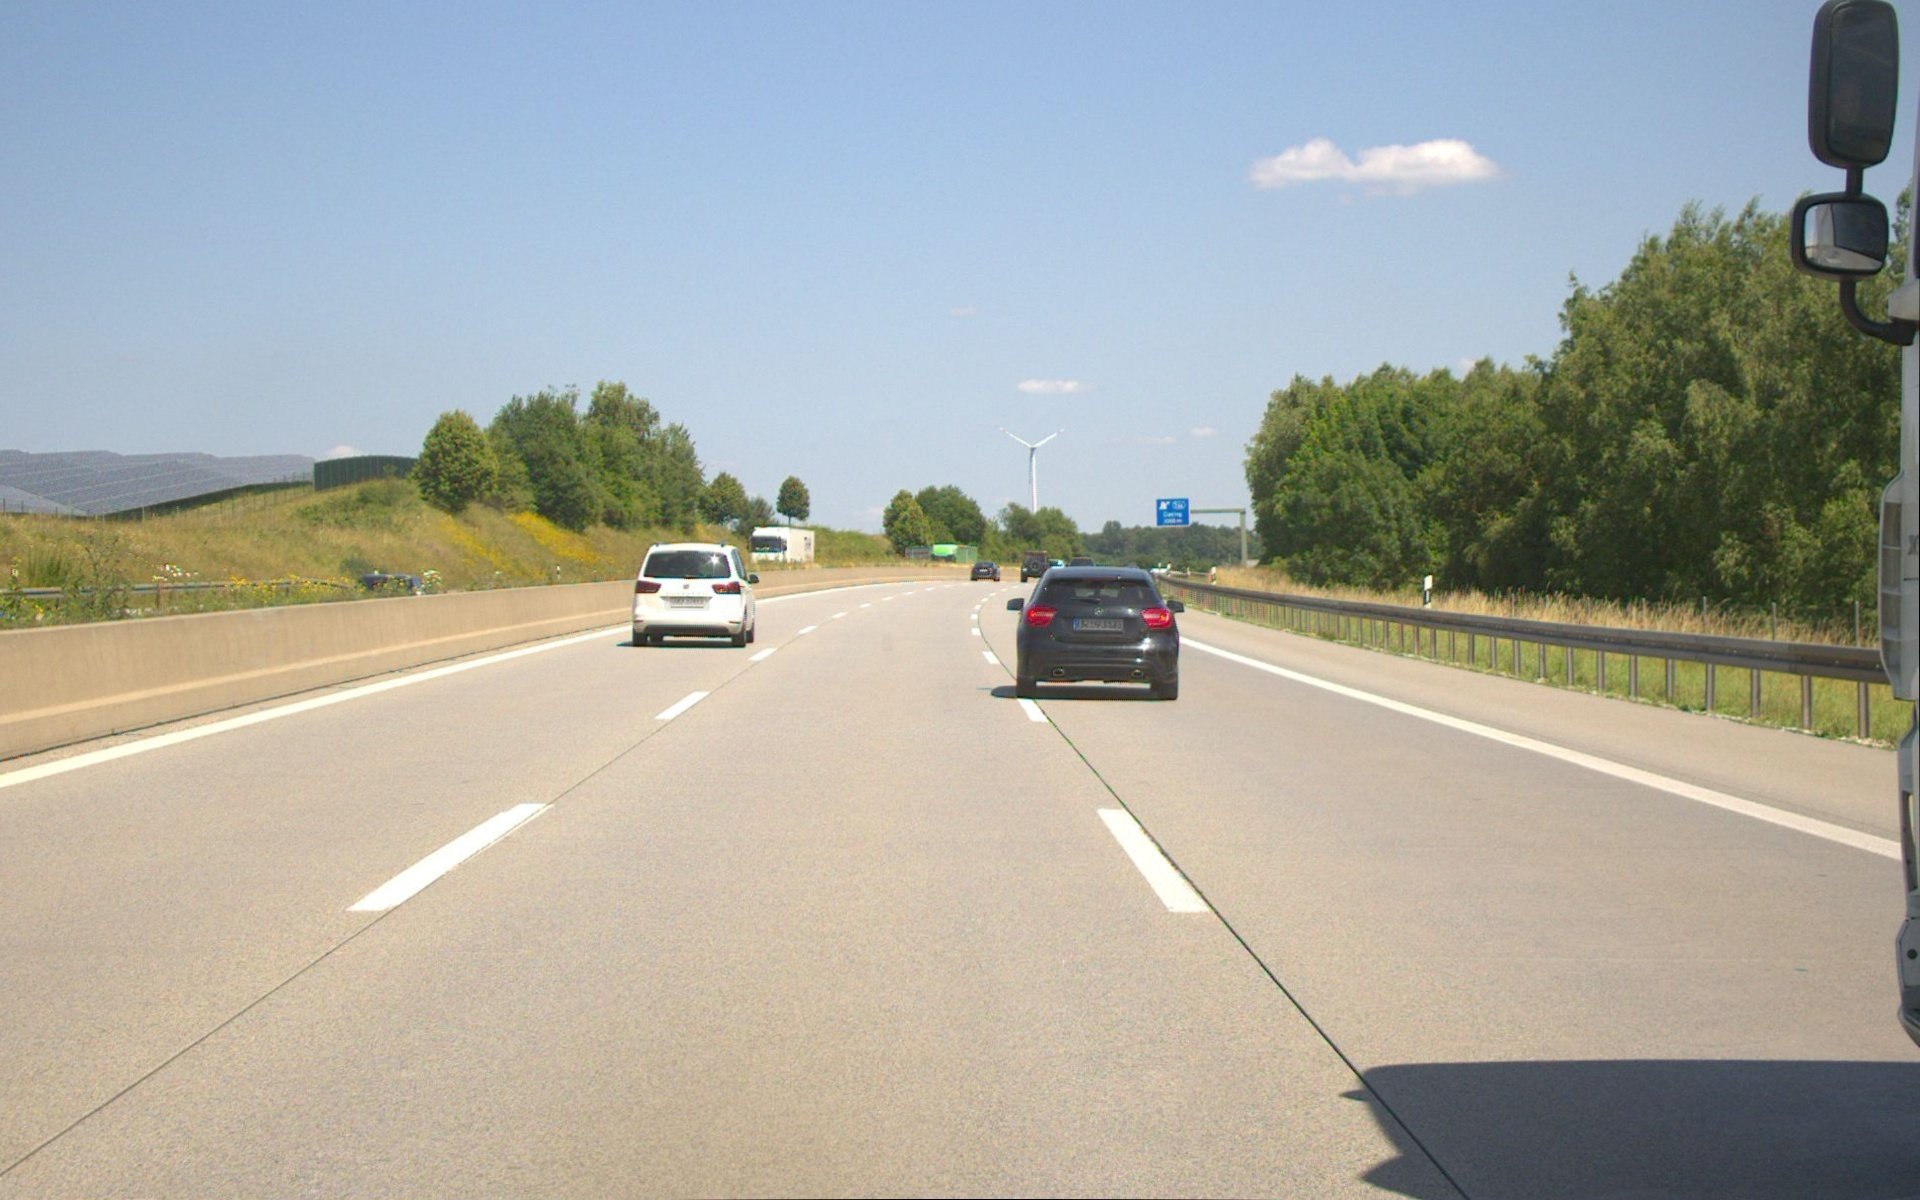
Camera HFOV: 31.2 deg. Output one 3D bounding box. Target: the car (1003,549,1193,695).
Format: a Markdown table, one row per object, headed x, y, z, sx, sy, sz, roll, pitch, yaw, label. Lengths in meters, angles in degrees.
| x | y | z | sx | sy | sz | roll | pitch | yaw | label |
| --- | --- | --- | --- | --- | --- | --- | --- | --- | --- |
| 1.488 | 0.201 | 38.496 | 1.910 | 1.487 | 4.192 | 1 | 1 | 0 | car |

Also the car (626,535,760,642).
| x | y | z | sx | sy | sz | roll | pitch | yaw | label |
| --- | --- | --- | --- | --- | --- | --- | --- | --- | --- |
| -4.469 | -0.212 | 58.263 | 1.845 | 1.702 | 6.036 | 1 | 0 | -1 | car |

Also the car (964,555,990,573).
| x | y | z | sx | sy | sz | roll | pitch | yaw | label |
| --- | --- | --- | --- | --- | --- | --- | --- | --- | --- |
| 1.191 | -2.538 | 241.647 | 1.655 | 1.192 | 3.960 | 3 | 1 | -1 | car |

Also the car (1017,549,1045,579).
| x | y | z | sx | sy | sz | roll | pitch | yaw | label |
| --- | --- | --- | --- | --- | --- | --- | --- | --- | --- |
| 4.707 | -2.390 | 226.933 | 1.827 | 1.931 | 3.809 | 0 | 1 | 1 | car |

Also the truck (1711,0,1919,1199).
| x | y | z | sx | sy | sz | roll | pitch | yaw | label |
| --- | --- | --- | --- | --- | --- | --- | --- | --- | --- |
| 3.513 | -0.594 | 6.494 | 2.812 | 4.074 | 5.799 | 0 | 1 | -1 | truck |

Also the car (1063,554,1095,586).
| x | y | z | sx | sy | sz | roll | pitch | yaw | label |
| --- | --- | --- | --- | --- | --- | --- | --- | --- | --- |
| 7.244 | -1.818 | 208.339 | 1.827 | 1.900 | 4.000 | 0 | 1 | 4 | car |
